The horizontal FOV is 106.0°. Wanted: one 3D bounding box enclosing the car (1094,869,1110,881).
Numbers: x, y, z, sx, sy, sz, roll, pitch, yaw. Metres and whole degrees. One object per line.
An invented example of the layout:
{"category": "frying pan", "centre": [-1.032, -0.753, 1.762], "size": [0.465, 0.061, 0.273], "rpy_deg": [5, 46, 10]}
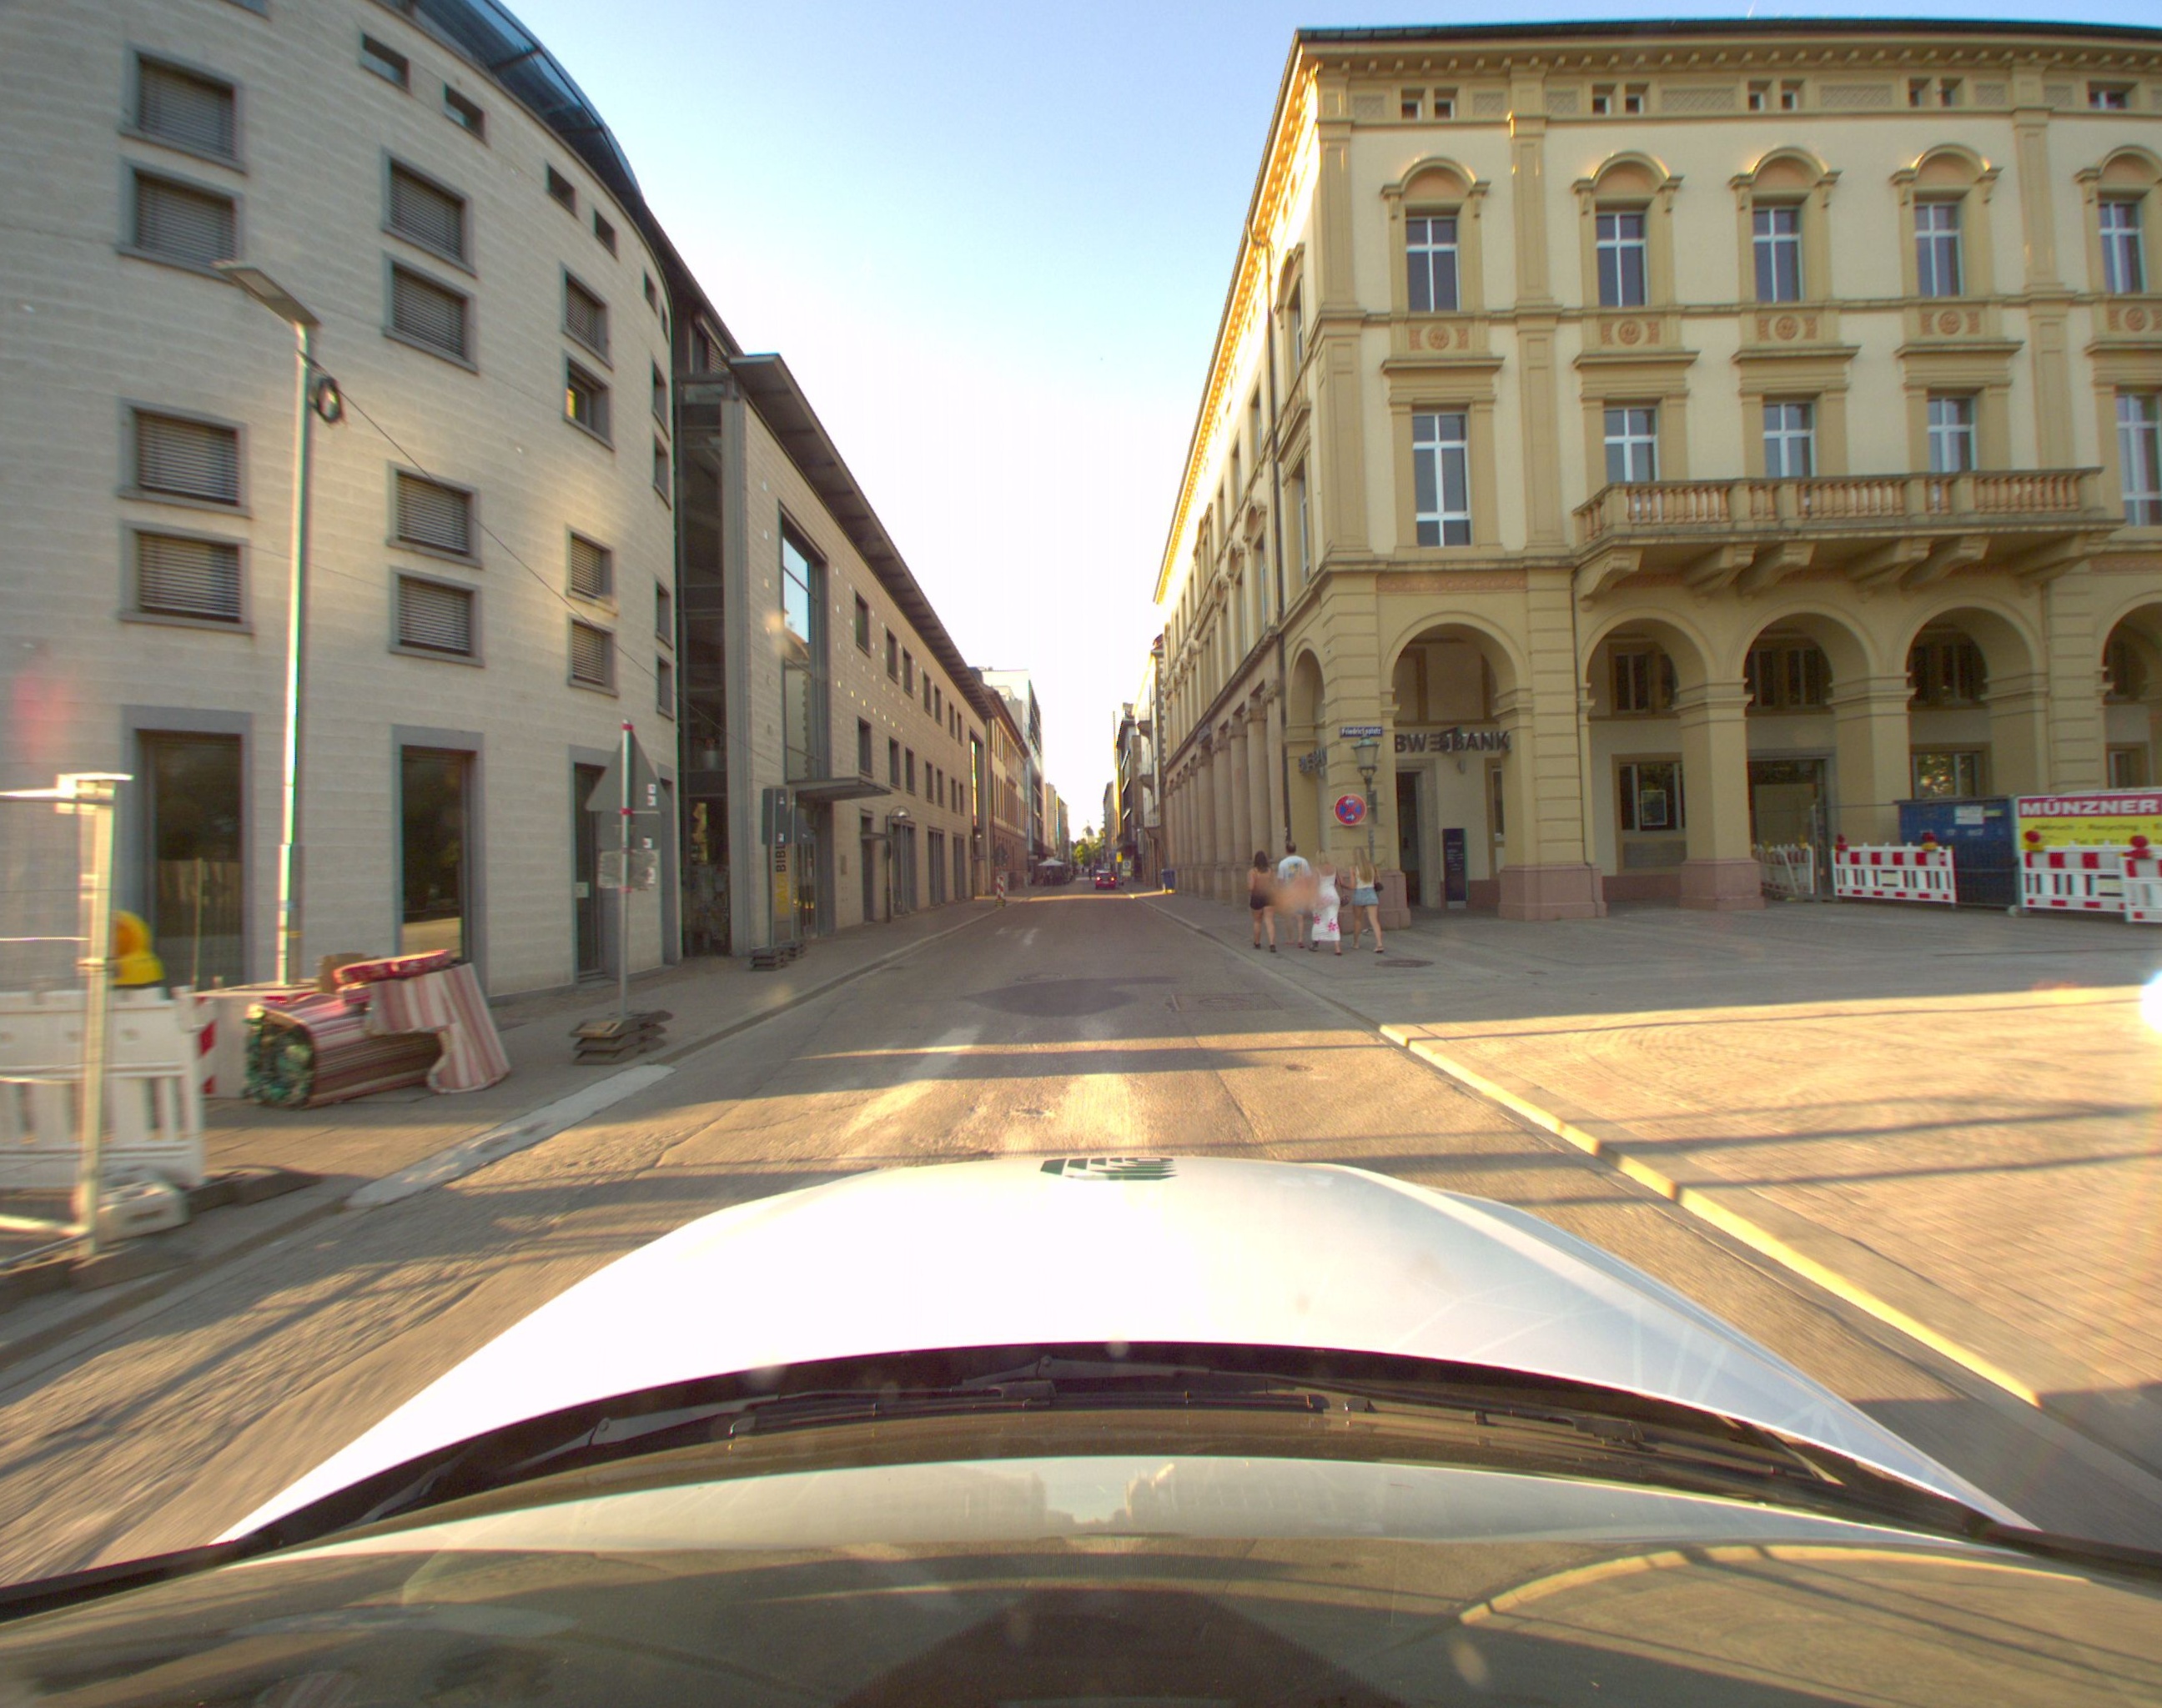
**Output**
{"category": "car", "centre": [2.952, 3.027, 116.160], "size": [1.988, 1.611, 3.998], "rpy_deg": [-2, -1, -1]}

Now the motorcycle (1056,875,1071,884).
{"category": "motorcycle", "centre": [-2.096, 3.049, 98.504], "size": [1.798, 1.040, 0.493], "rpy_deg": [-2, -1, -4]}

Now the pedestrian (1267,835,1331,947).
{"category": "pedestrian", "centre": [3.821, 0.635, 14.348], "size": [0.809, 1.875, 0.874], "rpy_deg": [-2, -1, -1]}

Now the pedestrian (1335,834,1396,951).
{"category": "pedestrian", "centre": [4.562, 0.603, 13.105], "size": [0.634, 1.803, 0.771], "rpy_deg": [-2, -1, -1]}

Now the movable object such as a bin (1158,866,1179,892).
{"category": "movable object such as a bin", "centre": [4.938, 1.408, 45.986], "size": [0.987, 1.392, 1.240], "rpy_deg": [-3, -1, -1]}

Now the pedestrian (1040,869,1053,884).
{"category": "pedestrian", "centre": [-3.466, 2.289, 82.655], "size": [1.287, 1.488, 0.661], "rpy_deg": [-2, -1, -2]}

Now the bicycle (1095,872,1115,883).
{"category": "bicycle", "centre": [2.611, 2.545, 88.690], "size": [2.048, 1.134, 0.648], "rpy_deg": [-2, -1, -4]}

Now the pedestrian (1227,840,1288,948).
{"category": "pedestrian", "centre": [3.001, 0.663, 13.902], "size": [0.773, 1.746, 0.874], "rpy_deg": [-2, -1, -1]}

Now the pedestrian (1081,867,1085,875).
{"category": "pedestrian", "centre": [0.498, 3.735, 176.091], "size": [0.801, 1.673, 0.889], "rpy_deg": [-2, -1, 2]}

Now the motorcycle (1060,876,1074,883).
{"category": "motorcycle", "centre": [-1.815, 3.287, 106.676], "size": [1.798, 0.875, 0.559], "rpy_deg": [-2, -1, -4]}

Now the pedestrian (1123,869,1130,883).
{"category": "pedestrian", "centre": [4.876, 2.377, 87.138], "size": [0.654, 1.488, 0.493], "rpy_deg": [-2, -1, 2]}

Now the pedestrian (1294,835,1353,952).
{"category": "pedestrian", "centre": [3.903, 0.622, 13.136], "size": [0.634, 1.803, 0.771], "rpy_deg": [-2, -1, -1]}

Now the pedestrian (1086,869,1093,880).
{"category": "pedestrian", "centre": [1.265, 3.039, 121.069], "size": [0.863, 1.713, 0.852], "rpy_deg": [-2, -1, 0]}

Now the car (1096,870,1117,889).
{"category": "car", "centre": [2.052, 2.079, 66.846], "size": [1.643, 1.427, 3.535], "rpy_deg": [1, -1, 1]}
